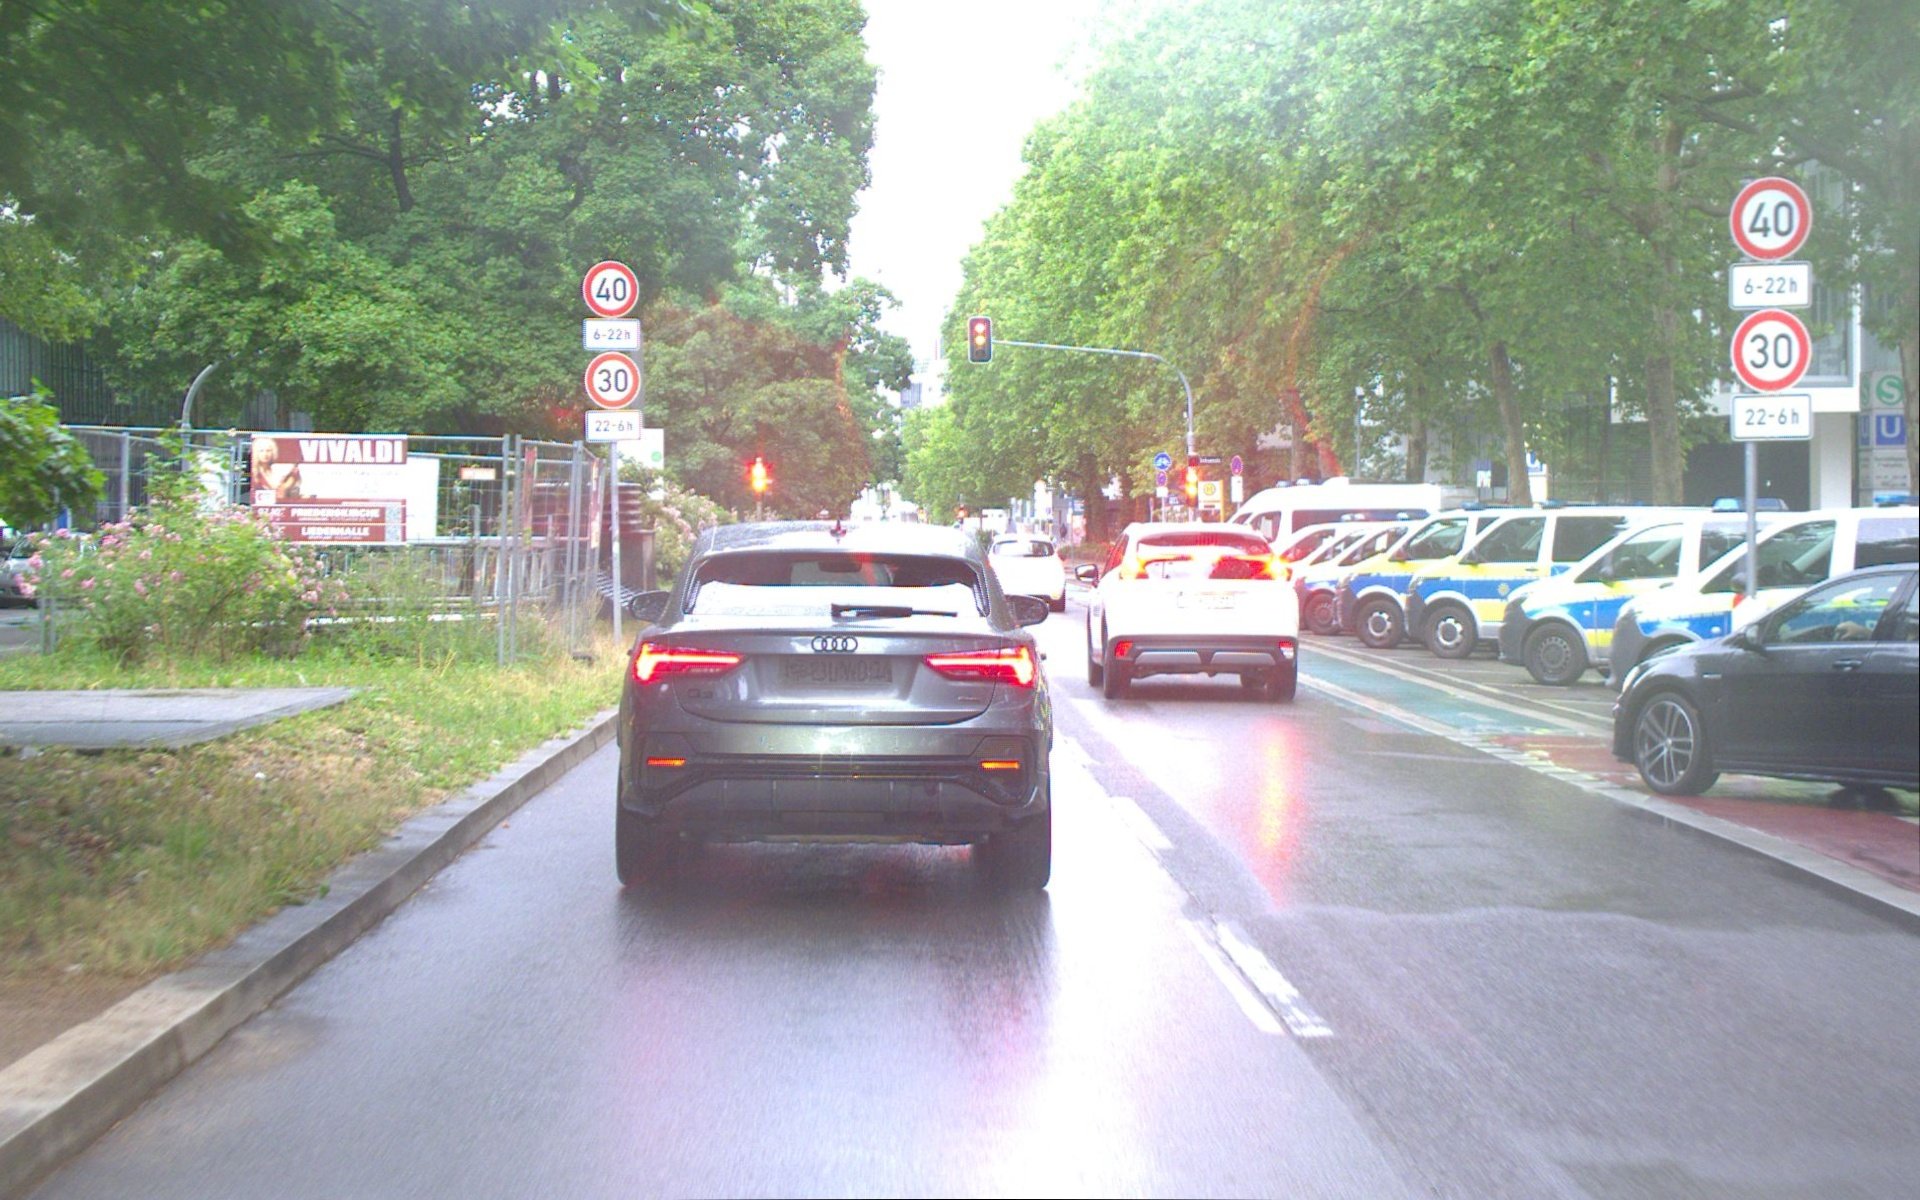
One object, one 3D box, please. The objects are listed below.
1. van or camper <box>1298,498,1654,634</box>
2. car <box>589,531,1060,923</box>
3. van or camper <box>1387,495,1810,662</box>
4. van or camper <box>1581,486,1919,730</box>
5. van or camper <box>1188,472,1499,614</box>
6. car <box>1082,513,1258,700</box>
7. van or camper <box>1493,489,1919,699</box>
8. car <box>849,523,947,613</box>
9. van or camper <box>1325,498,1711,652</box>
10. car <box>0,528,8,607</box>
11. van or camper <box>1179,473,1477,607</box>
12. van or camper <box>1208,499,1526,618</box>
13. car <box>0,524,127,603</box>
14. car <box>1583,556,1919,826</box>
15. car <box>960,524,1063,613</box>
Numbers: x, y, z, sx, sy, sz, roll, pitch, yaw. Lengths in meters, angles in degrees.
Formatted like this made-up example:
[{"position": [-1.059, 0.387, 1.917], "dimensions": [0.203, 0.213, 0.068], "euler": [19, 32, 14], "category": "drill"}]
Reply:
[{"position": [8.009, -0.567, 53.644], "dimensions": [5.102, 2.018, 2.102], "euler": [1, 2, 37], "category": "van or camper"}, {"position": [-0.535, 0.458, 15.897], "dimensions": [1.863, 1.527, 4.527], "euler": [0, 1, 0], "category": "car"}, {"position": [7.935, -0.307, 42.952], "dimensions": [4.849, 1.991, 1.864], "euler": [1, 1, 36], "category": "van or camper"}, {"position": [8.032, 0.055, 29.445], "dimensions": [4.942, 1.985, 1.998], "euler": [2, 1, 37], "category": "van or camper"}, {"position": [7.481, -1.122, 67.329], "dimensions": [5.804, 2.671, 1.996], "euler": [1, 1, 35], "category": "van or camper"}, {"position": [1.952, 0.021, 32.627], "dimensions": [1.433, 1.679, 2.979], "euler": [-1, 1, -1], "category": "car"}, {"position": [8.347, -0.103, 35.989], "dimensions": [5.082, 2.012, 1.993], "euler": [2, 2, 36], "category": "van or camper"}, {"position": [-1.148, -0.612, 62.728], "dimensions": [1.721, 1.572, 3.962], "euler": [0, 1, -1], "category": "car"}, {"position": [7.579, -0.373, 46.862], "dimensions": [4.789, 2.004, 1.996], "euler": [1, 1, 35], "category": "van or camper"}, {"position": [-17.601, -0.547, 57.736], "dimensions": [1.993, 1.365, 4.540], "euler": [2, 1, -1], "category": "car"}, {"position": [7.525, -1.249, 70.671], "dimensions": [5.809, 2.668, 2.143], "euler": [1, 1, 36], "category": "van or camper"}, {"position": [7.172, -0.751, 60.824], "dimensions": [5.202, 1.985, 1.996], "euler": [2, 1, 34], "category": "van or camper"}, {"position": [-17.986, -0.748, 68.259], "dimensions": [1.993, 1.504, 4.519], "euler": [-1, 1, -3], "category": "car"}, {"position": [5.562, 0.480, 19.455], "dimensions": [1.765, 1.408, 4.000], "euler": [-1, 2, -32], "category": "car"}, {"position": [1.021, -0.676, 70.663], "dimensions": [1.993, 1.744, 4.000], "euler": [0, 1, -1], "category": "car"}]
